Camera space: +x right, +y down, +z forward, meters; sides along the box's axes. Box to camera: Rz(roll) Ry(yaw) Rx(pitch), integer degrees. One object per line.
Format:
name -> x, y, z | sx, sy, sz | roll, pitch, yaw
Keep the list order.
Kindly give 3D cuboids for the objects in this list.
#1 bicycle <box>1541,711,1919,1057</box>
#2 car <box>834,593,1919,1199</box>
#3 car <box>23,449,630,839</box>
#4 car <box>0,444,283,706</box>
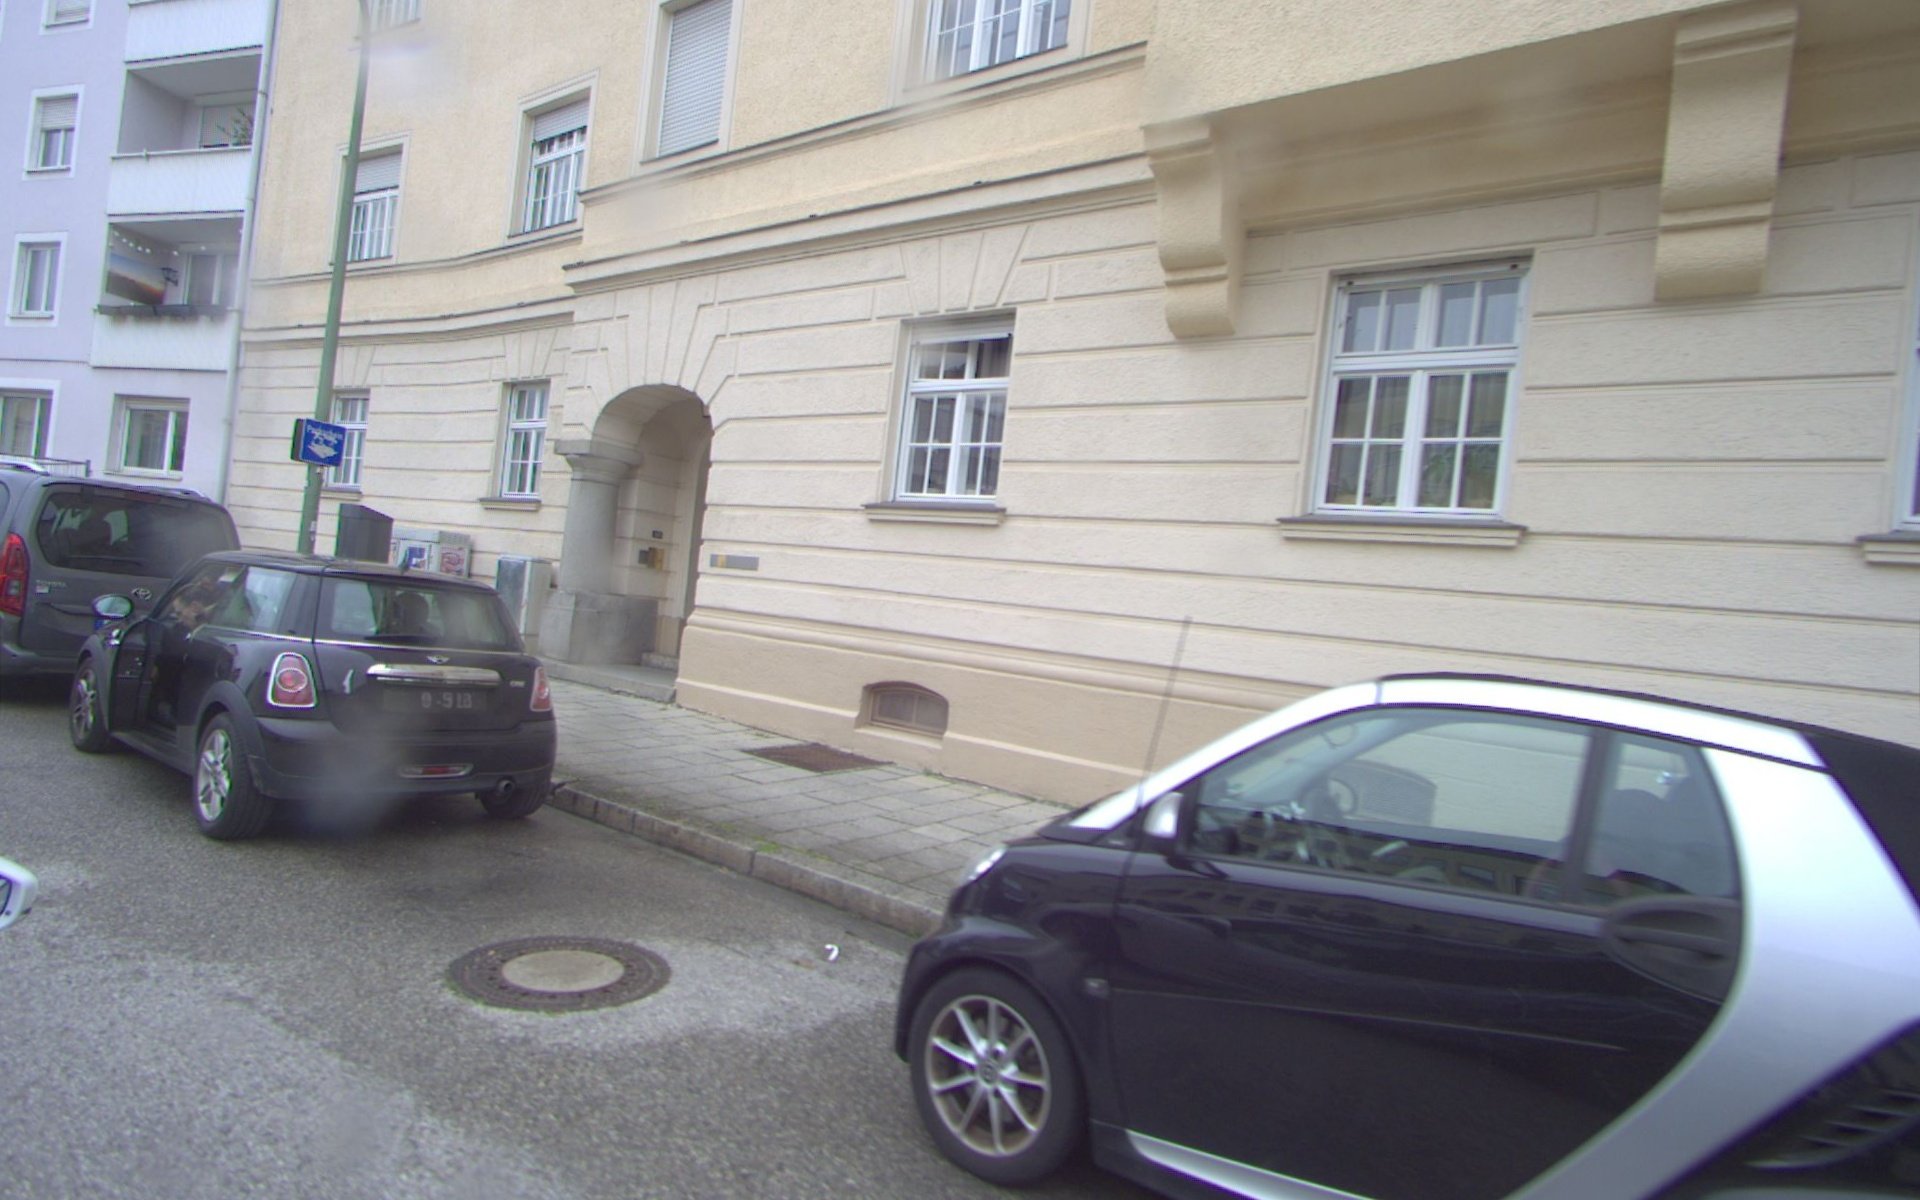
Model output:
bicycle -> 4.217, 1.313, 4.553 | 2.603, 1.261, 0.702 | 5, -1, 35
car -> 1.265, 0.948, 2.805 | 2.820, 1.574, 1.508 | 5, -3, 38
car -> -4.077, 0.165, 6.324 | 3.673, 1.749, 1.838 | 5, -3, 36
car -> -8.199, -0.279, 8.844 | 4.165, 1.819, 1.842 | 6, -3, 28
